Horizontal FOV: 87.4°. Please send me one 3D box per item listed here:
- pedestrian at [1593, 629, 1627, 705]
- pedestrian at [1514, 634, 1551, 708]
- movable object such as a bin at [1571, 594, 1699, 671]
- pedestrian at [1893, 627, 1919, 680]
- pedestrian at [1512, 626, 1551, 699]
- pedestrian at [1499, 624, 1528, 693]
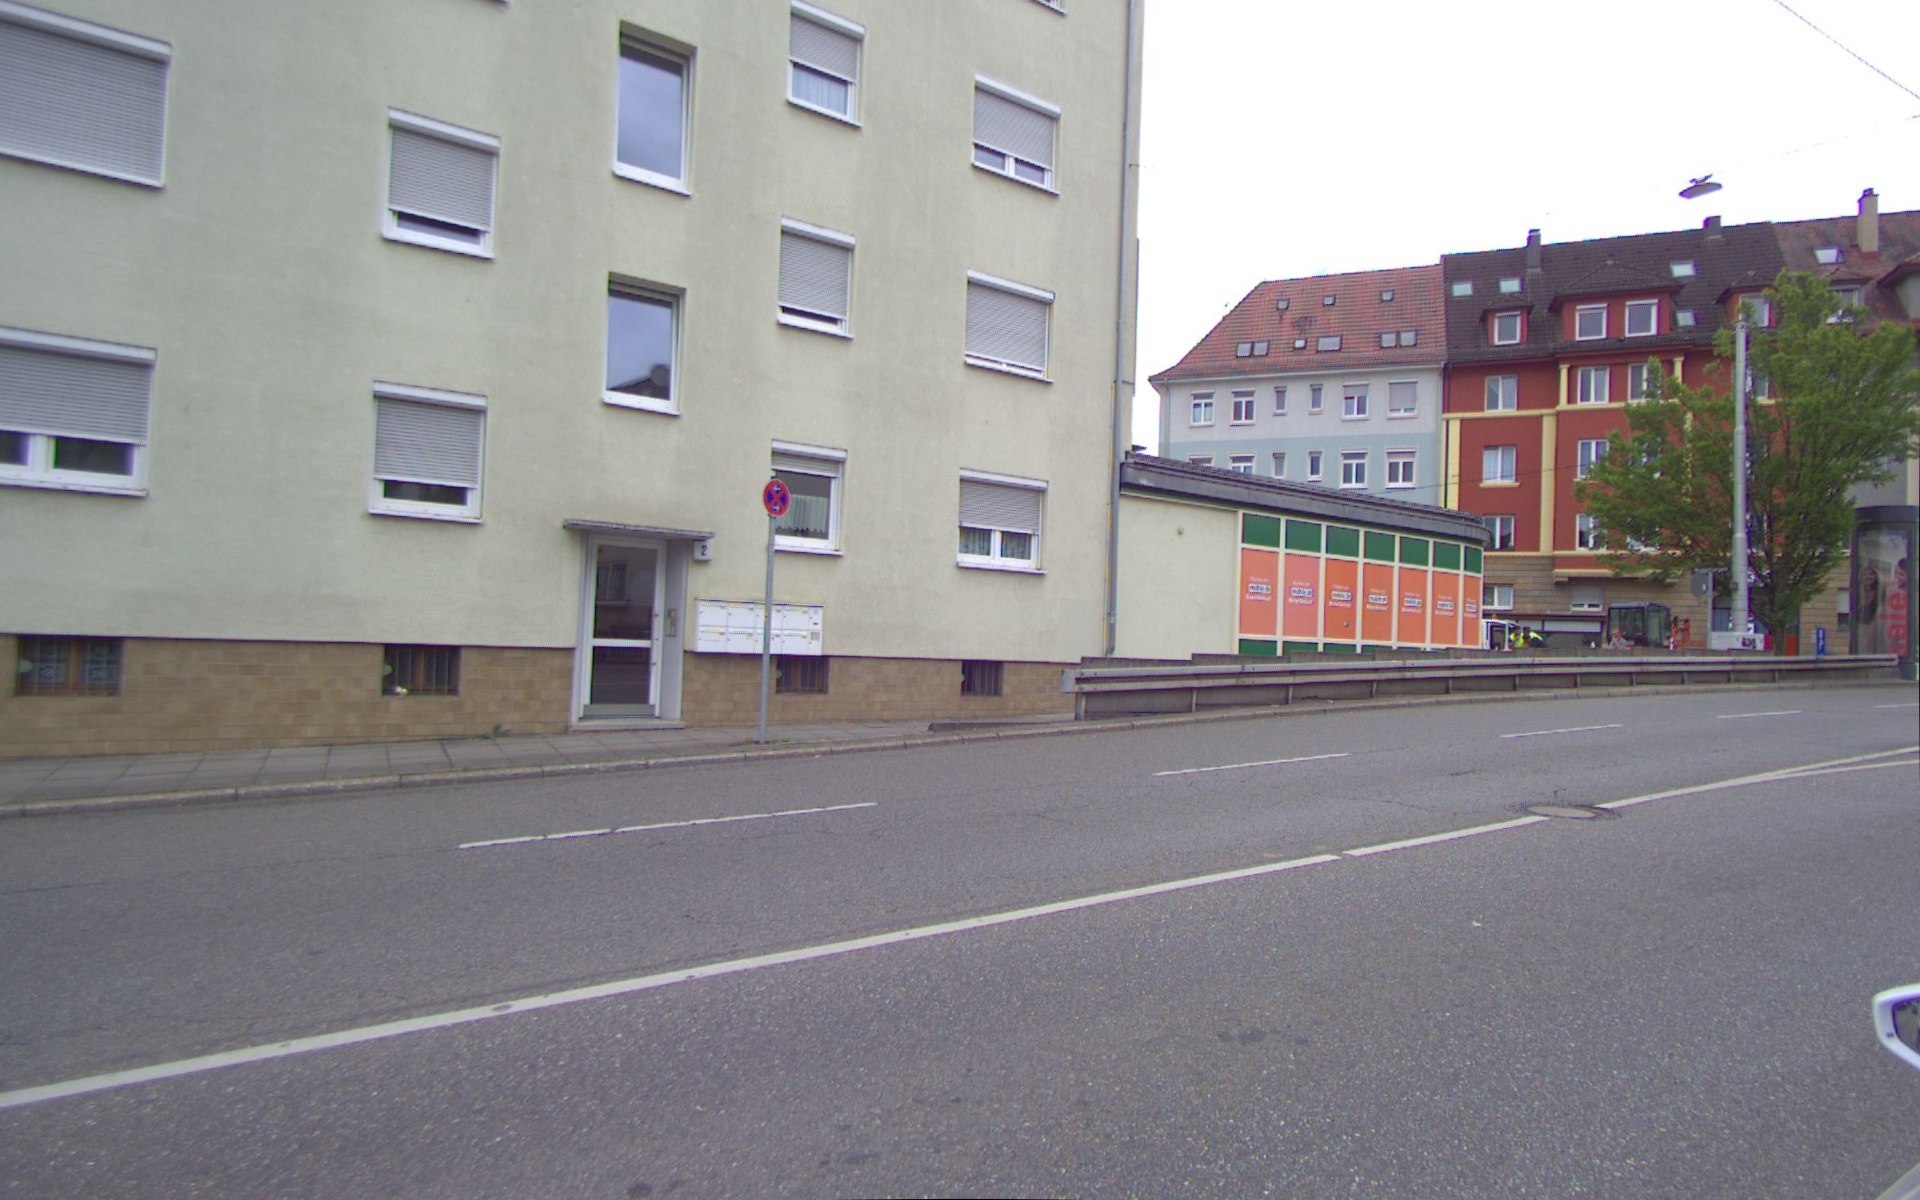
[{"bbox_3d":[15.437,1.576,23.856,0.533,1.753,0.593,3,1,26],"label":"pedestrian"},{"bbox_3d":[13.739,1.696,24.102,0.539,1.722,0.557,1,1,-41],"label":"pedestrian"},{"bbox_3d":[17.654,0.816,26.207,3.972,1.795,1.884,1,1,-43],"label":"movable object such as a bin"},{"bbox_3d":[29.018,1.631,30.684,0.480,1.588,0.587,1,1,-30],"label":"pedestrian"},{"bbox_3d":[14.418,1.572,25.356,0.605,1.785,0.573,2,1,5],"label":"pedestrian"},{"bbox_3d":[14.548,1.536,26.400,0.467,1.753,0.543,2,1,15],"label":"pedestrian"}]
